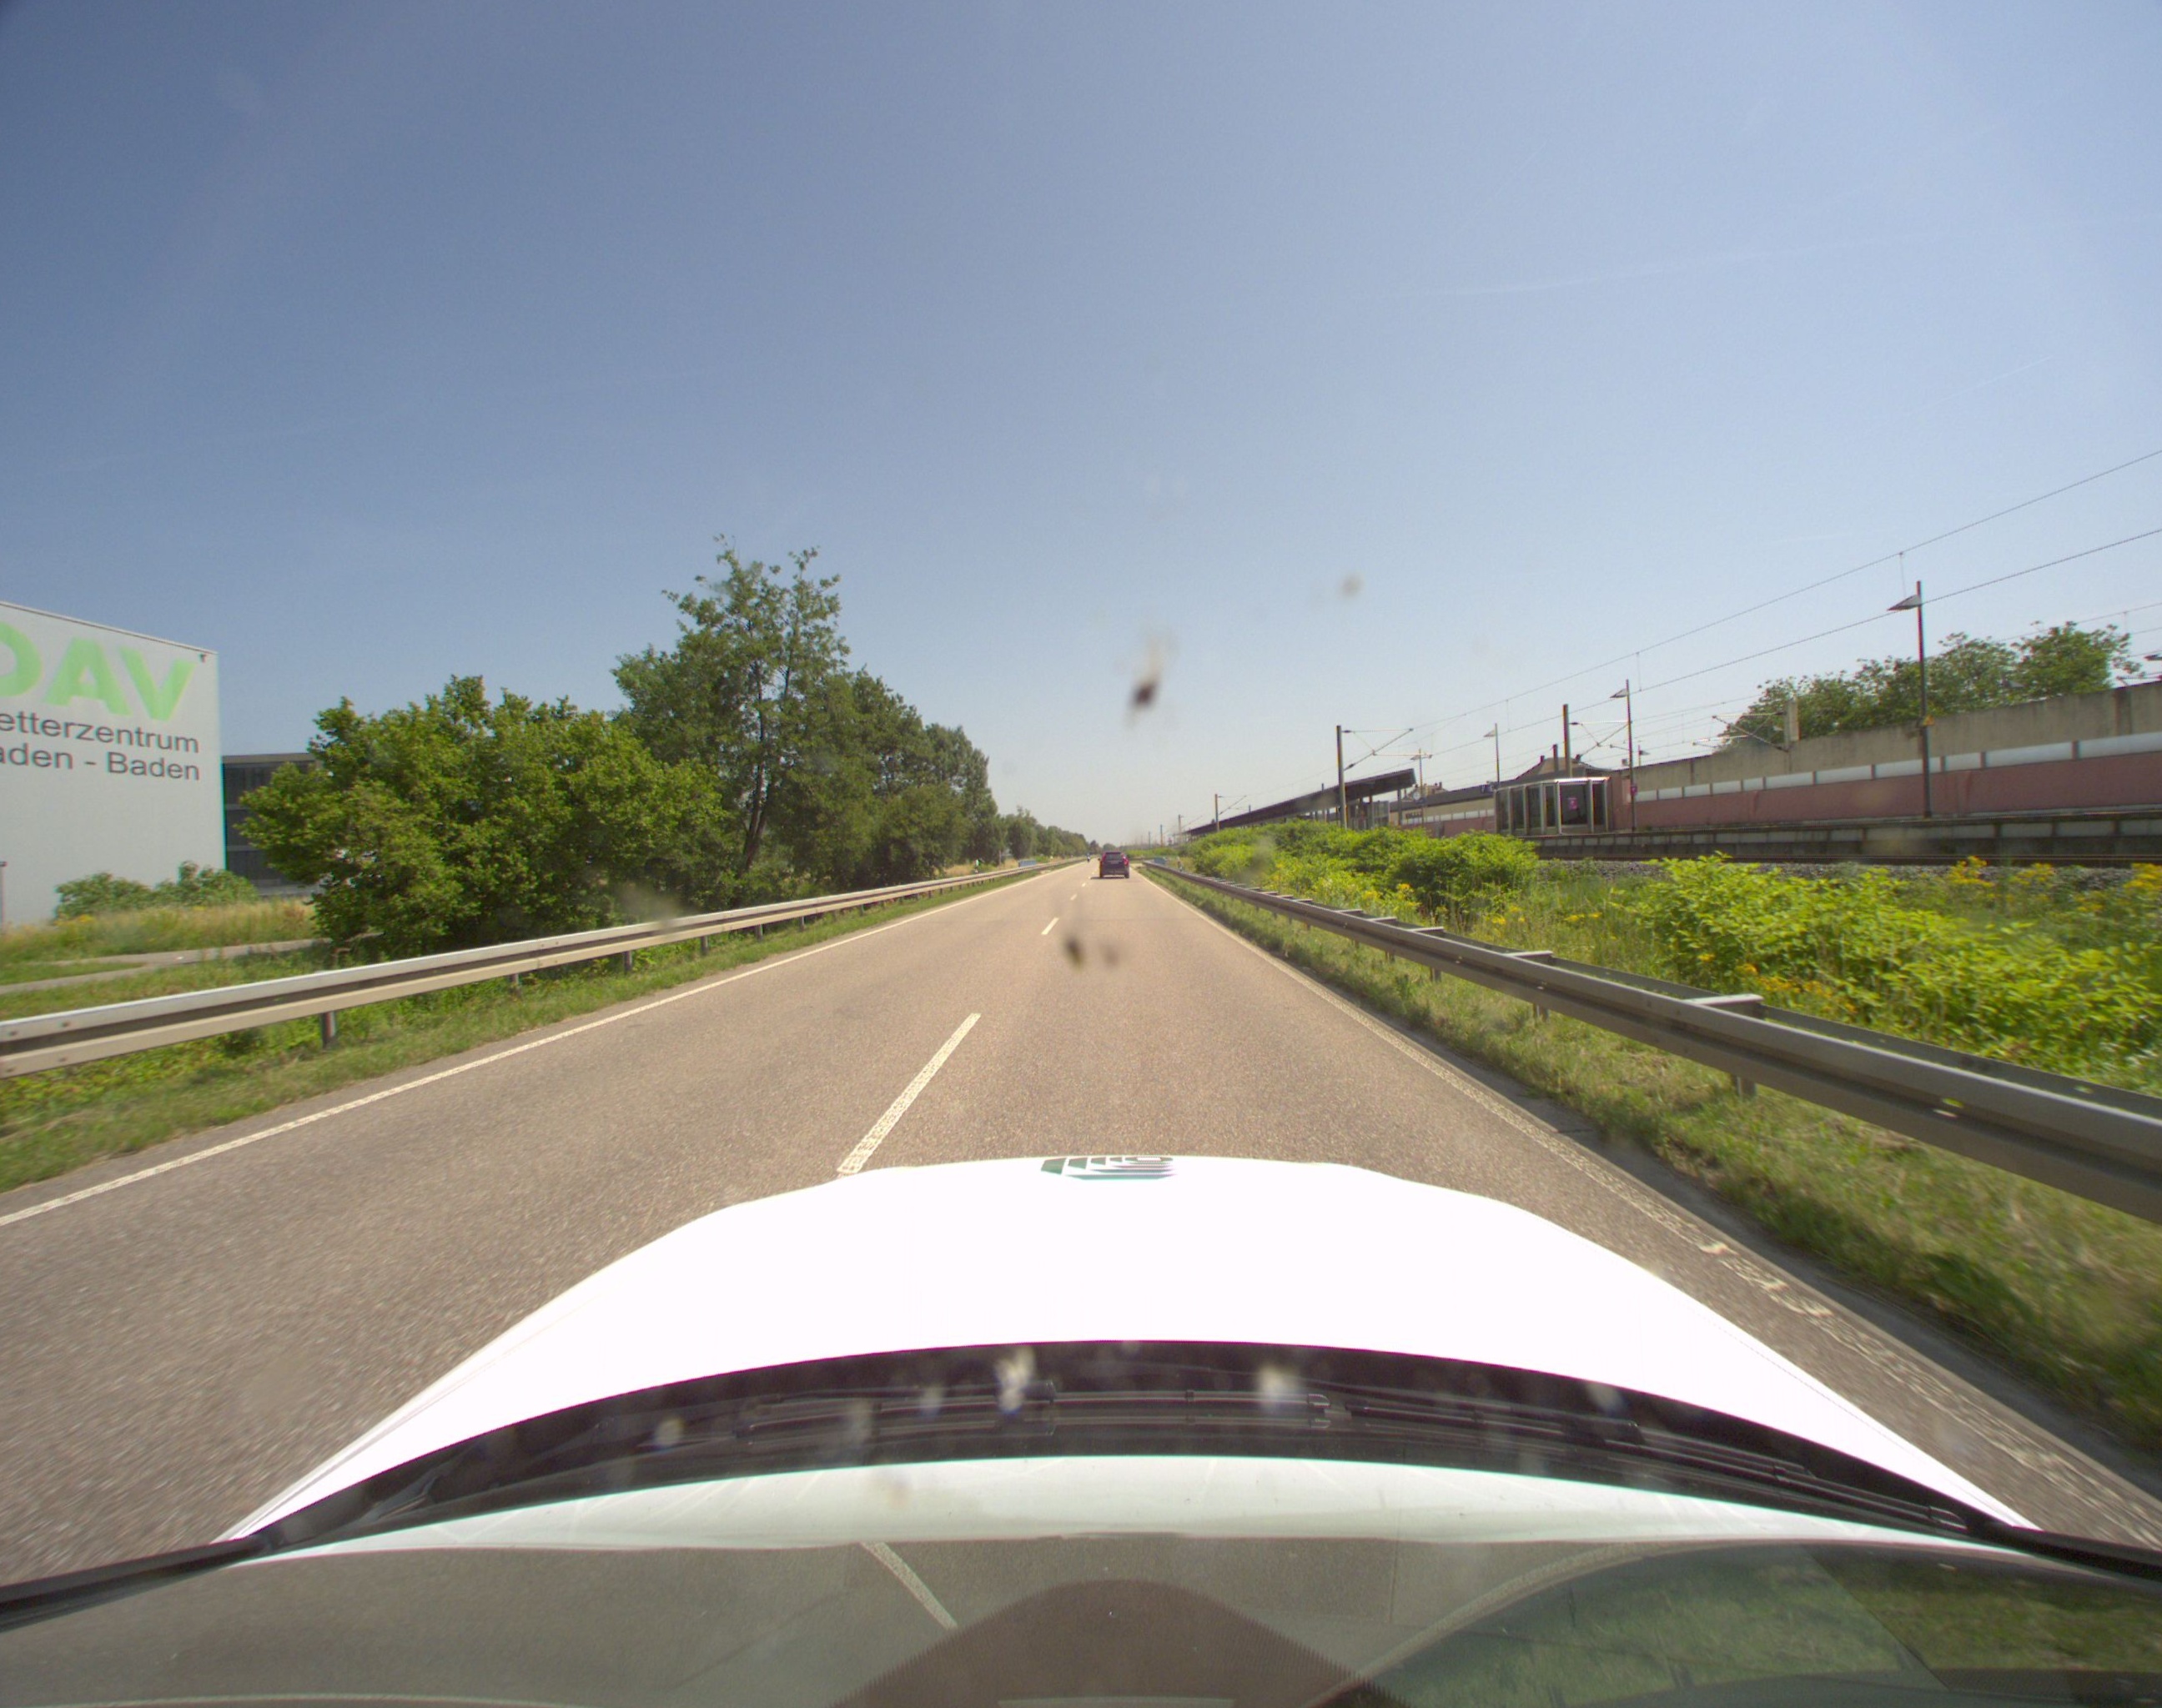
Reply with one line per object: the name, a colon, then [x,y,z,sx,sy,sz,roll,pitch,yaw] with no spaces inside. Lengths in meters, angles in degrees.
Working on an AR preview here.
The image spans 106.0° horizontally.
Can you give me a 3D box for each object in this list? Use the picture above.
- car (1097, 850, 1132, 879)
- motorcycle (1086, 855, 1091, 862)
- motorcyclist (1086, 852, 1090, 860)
car: [2.085,0.644,51.923,1.987,1.700,3.999,-1,0,-1]
motorcycle: [1.337,0.846,151.195,0.686,1.234,2.372,-1,0,4]
motorcyclist: [1.321,0.440,151.224,0.723,1.465,0.988,-1,0,4]
